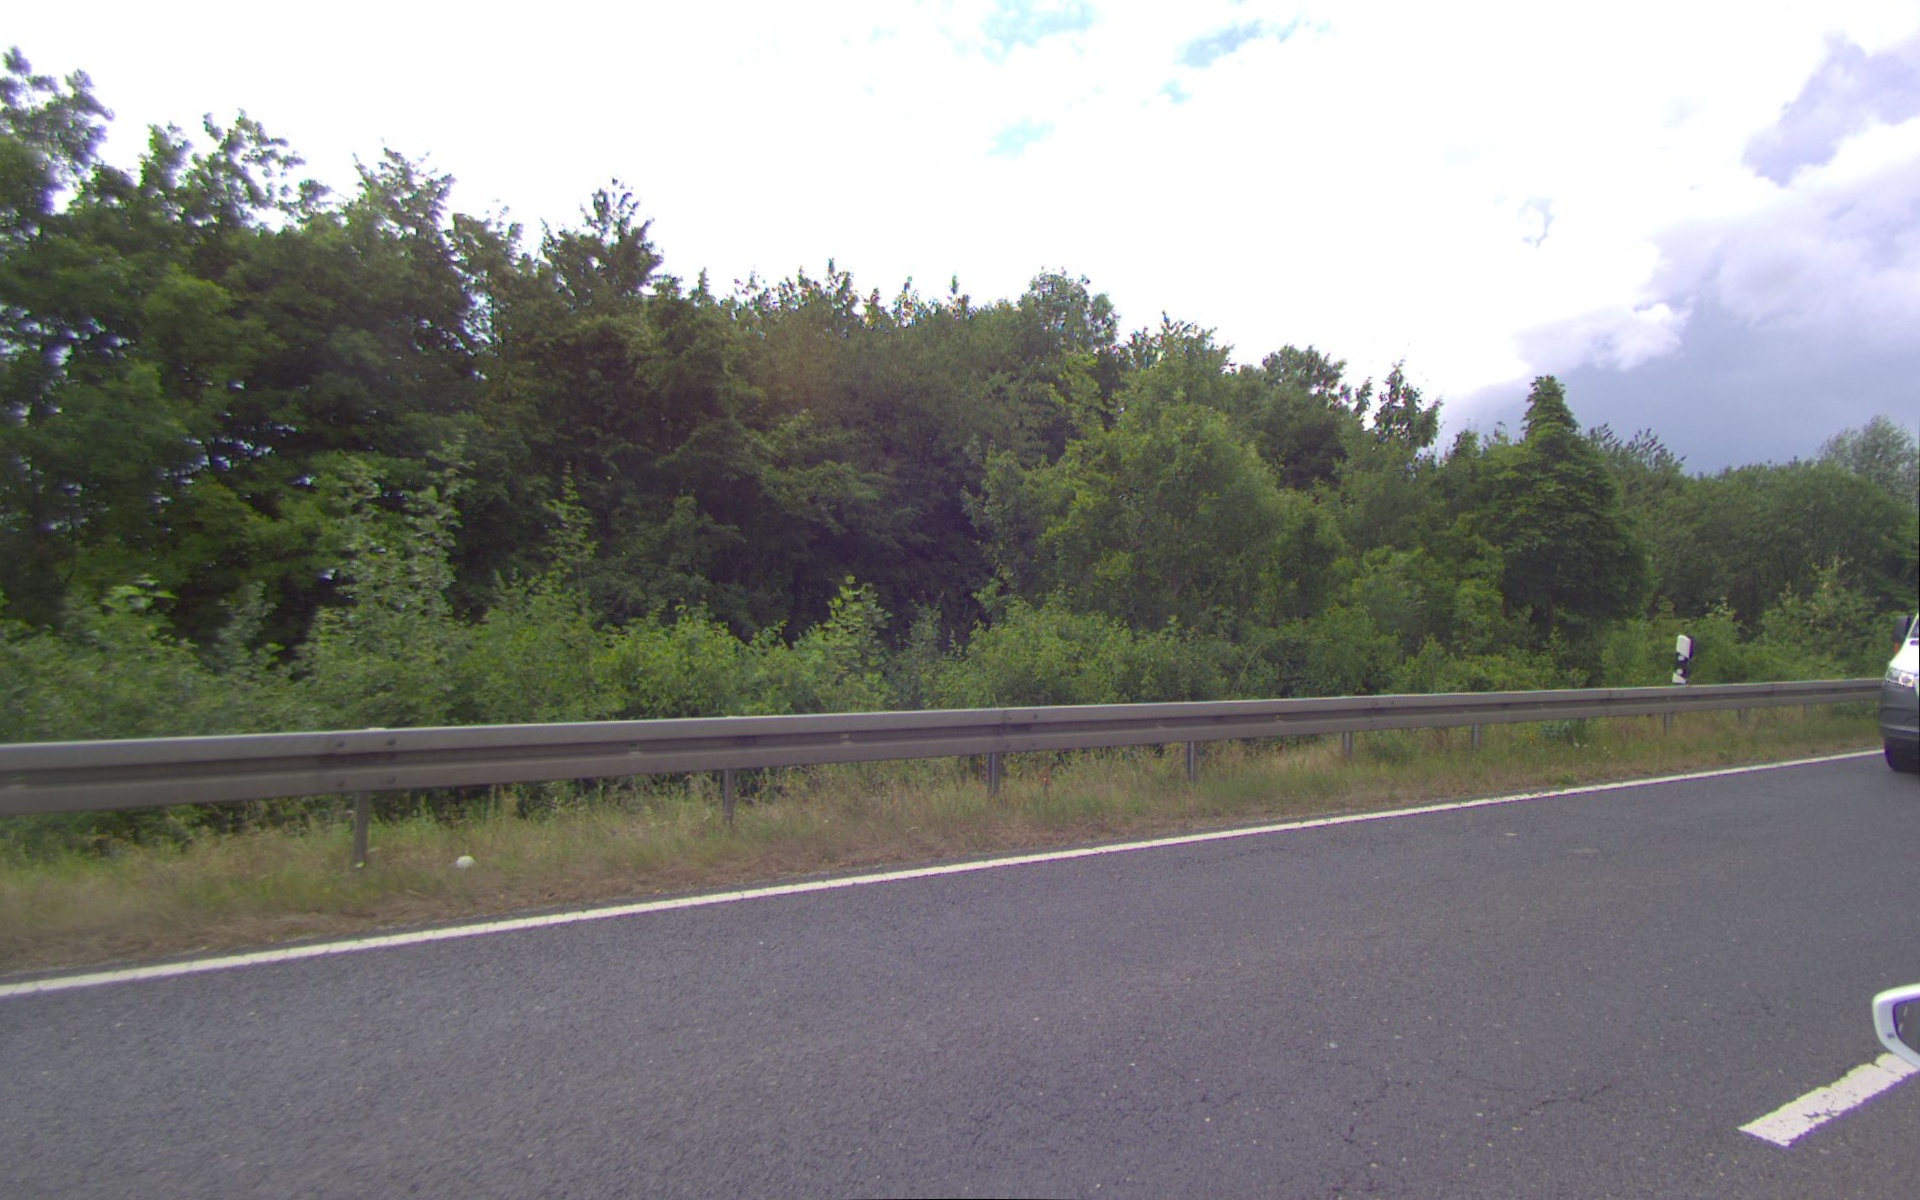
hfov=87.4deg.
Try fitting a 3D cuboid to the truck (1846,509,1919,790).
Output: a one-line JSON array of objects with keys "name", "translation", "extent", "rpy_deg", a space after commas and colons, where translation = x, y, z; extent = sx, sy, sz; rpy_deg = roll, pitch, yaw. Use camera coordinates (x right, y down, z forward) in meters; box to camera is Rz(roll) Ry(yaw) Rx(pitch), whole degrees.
[{"name": "truck", "translation": [12.673, 0.556, 11.292], "extent": [6.926, 2.779, 2.055], "rpy_deg": [1, 0, -31]}]
